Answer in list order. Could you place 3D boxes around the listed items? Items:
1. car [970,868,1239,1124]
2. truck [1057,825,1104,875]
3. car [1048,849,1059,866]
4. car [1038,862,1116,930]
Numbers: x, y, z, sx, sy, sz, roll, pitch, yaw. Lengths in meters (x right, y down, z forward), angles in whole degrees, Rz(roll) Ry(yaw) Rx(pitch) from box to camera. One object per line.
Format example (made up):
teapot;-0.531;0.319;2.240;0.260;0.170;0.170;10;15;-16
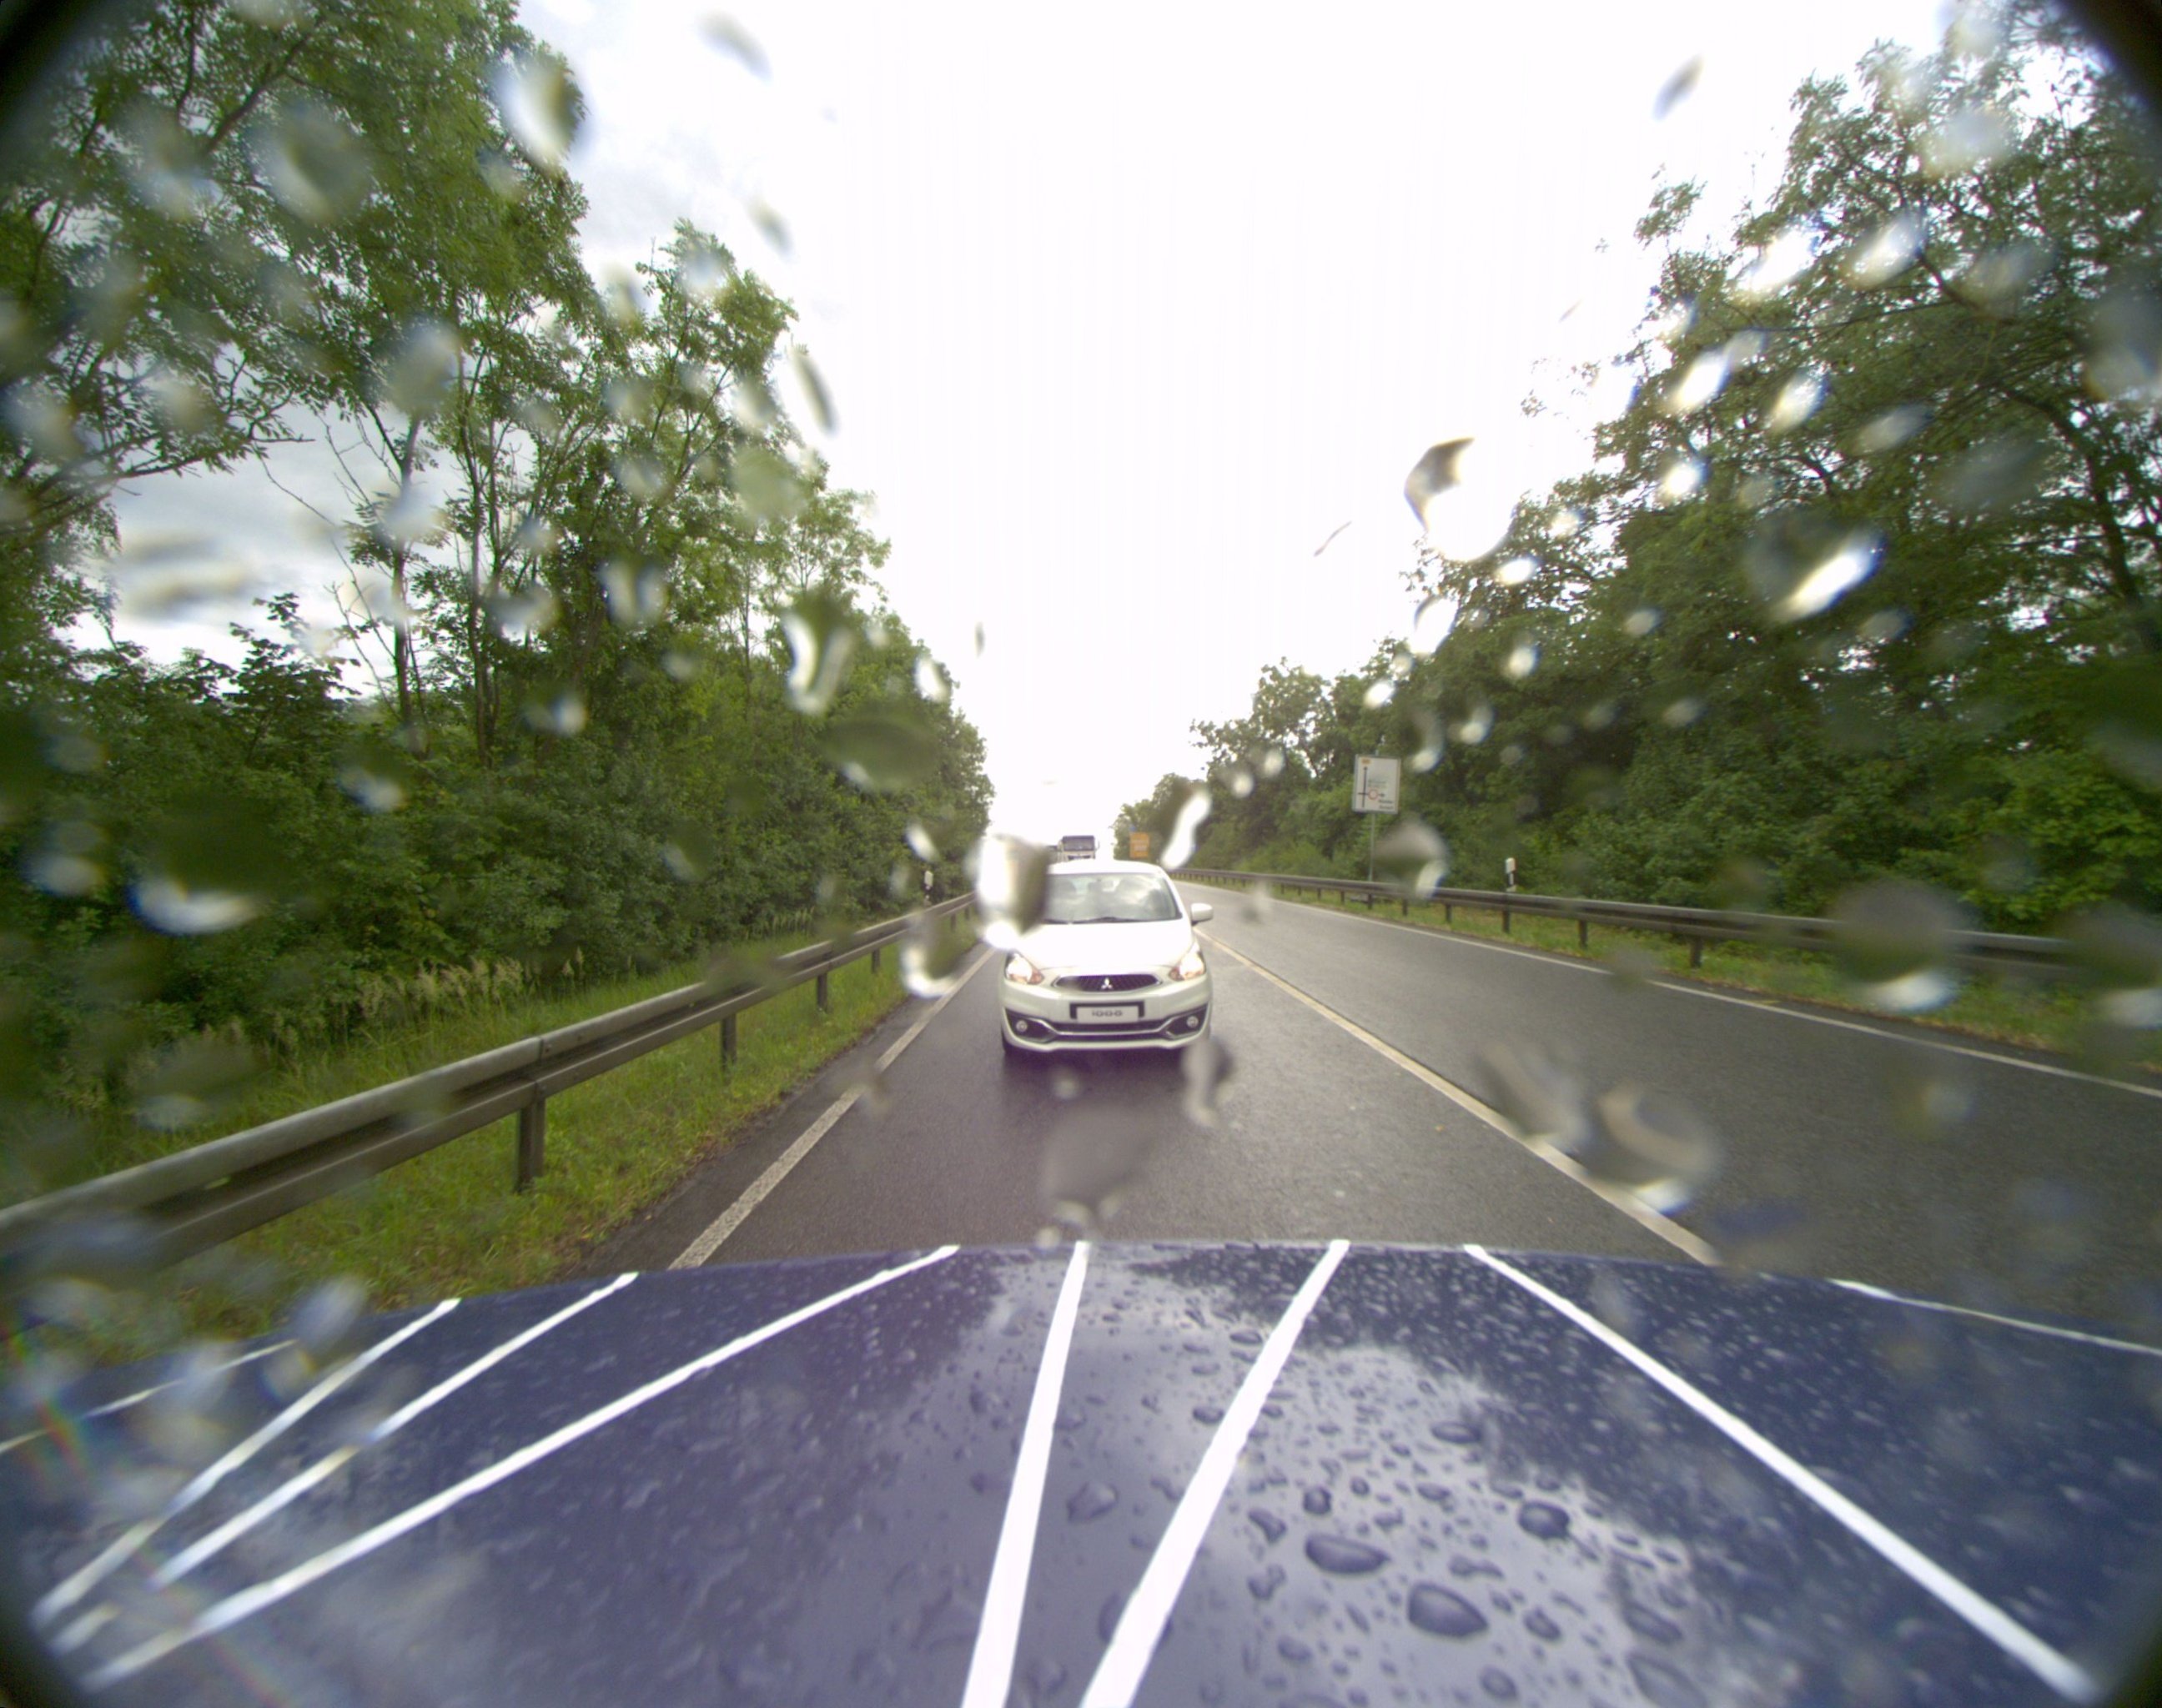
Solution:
car;0.133;0.917;6.801;1.610;1.435;4.208;-2;0;-1
truck;0.004;-0.339;57.168;3.136;3.364;9.282;-2;1;0
car;-4.344;0.523;118.520;1.613;2.422;3.999;-2;1;-2
car;-0.033;0.937;18.796;1.640;1.413;4.492;-2;0;1
